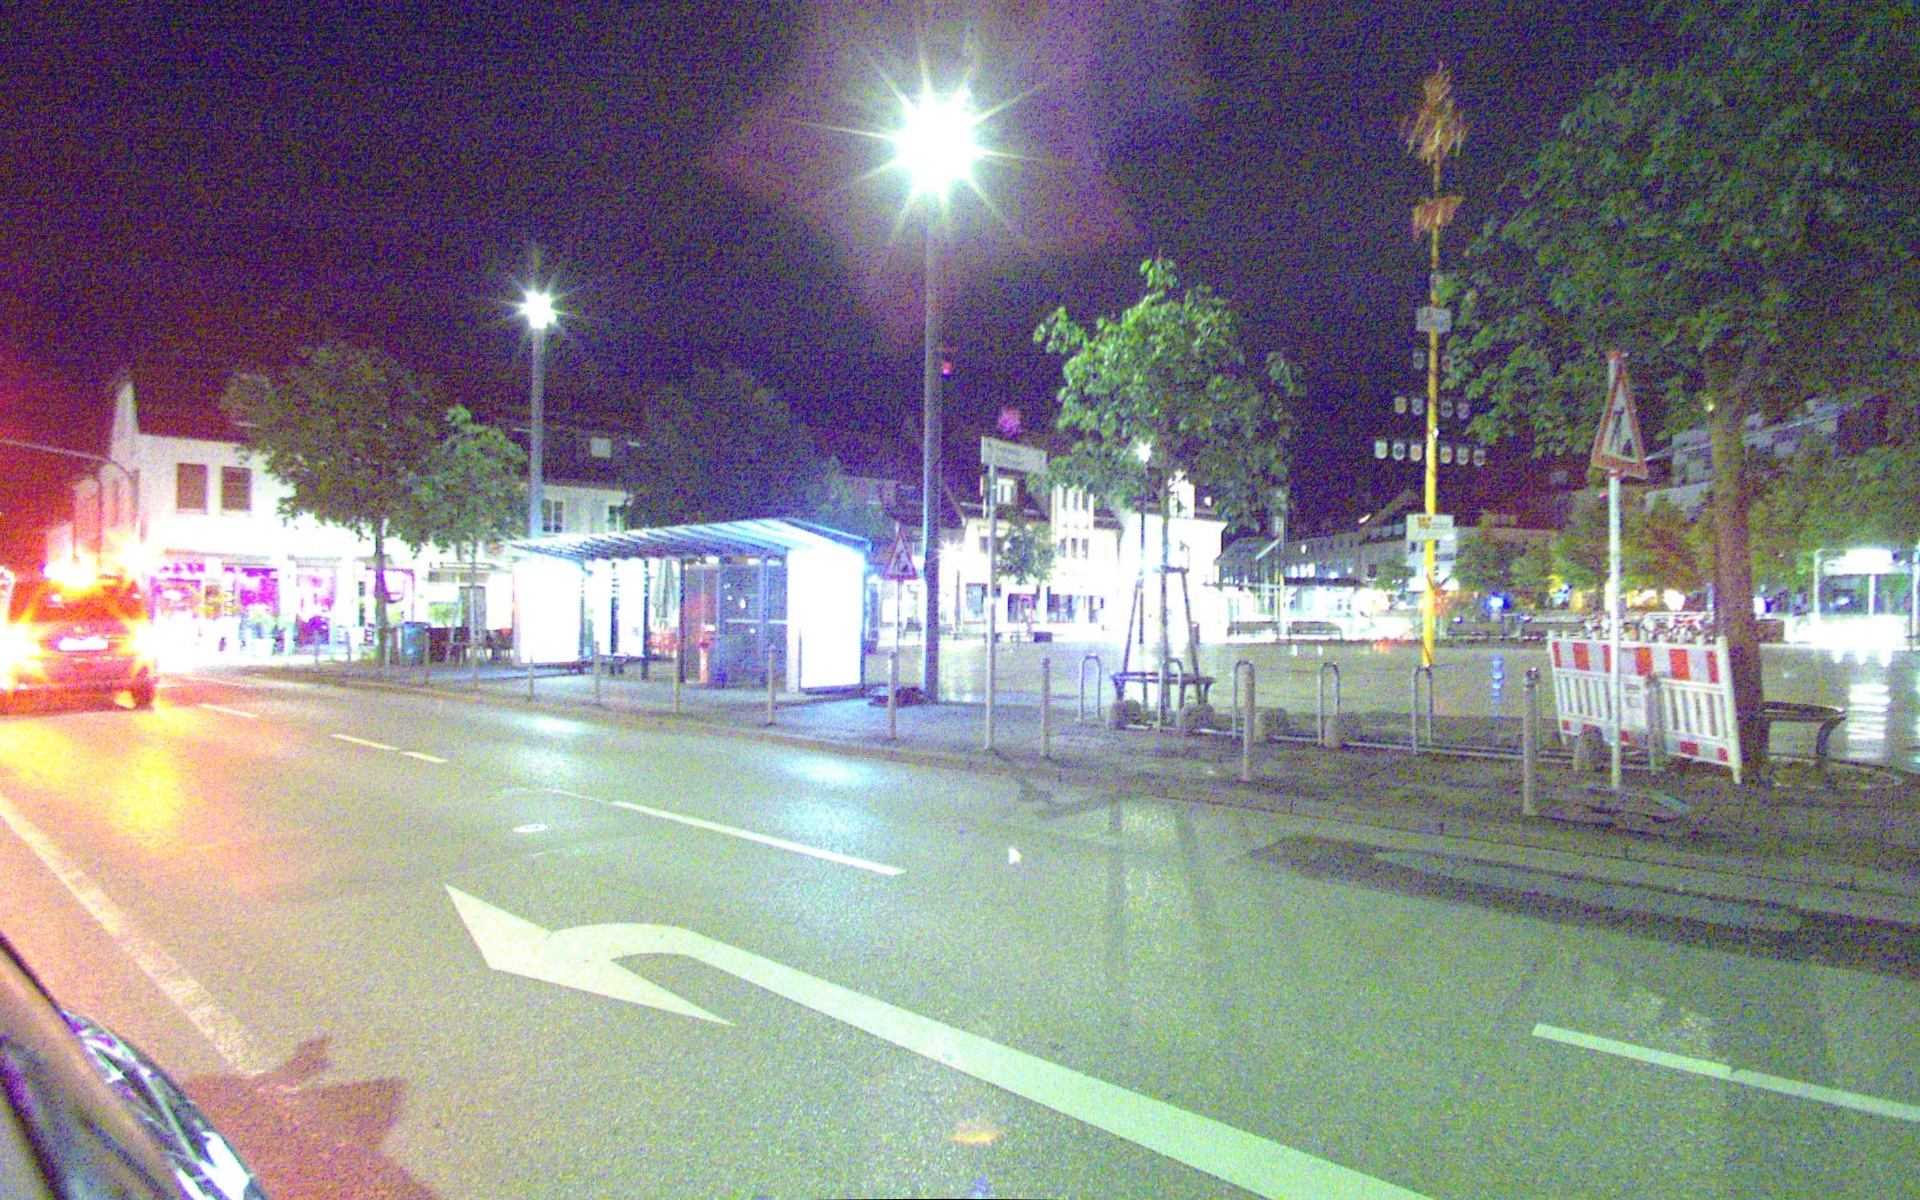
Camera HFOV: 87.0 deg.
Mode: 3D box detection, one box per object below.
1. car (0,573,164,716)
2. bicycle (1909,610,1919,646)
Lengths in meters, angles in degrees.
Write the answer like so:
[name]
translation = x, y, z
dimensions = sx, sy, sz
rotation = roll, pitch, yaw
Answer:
[car]
translation = -14.020, 0.628, 15.587
dimensions = 4.910, 1.886, 1.946
rotation = -1, -1, 42
[bicycle]
translation = 26.407, 0.737, 26.978
dimensions = 1.525, 0.965, 0.476
rotation = -1, 0, 25
